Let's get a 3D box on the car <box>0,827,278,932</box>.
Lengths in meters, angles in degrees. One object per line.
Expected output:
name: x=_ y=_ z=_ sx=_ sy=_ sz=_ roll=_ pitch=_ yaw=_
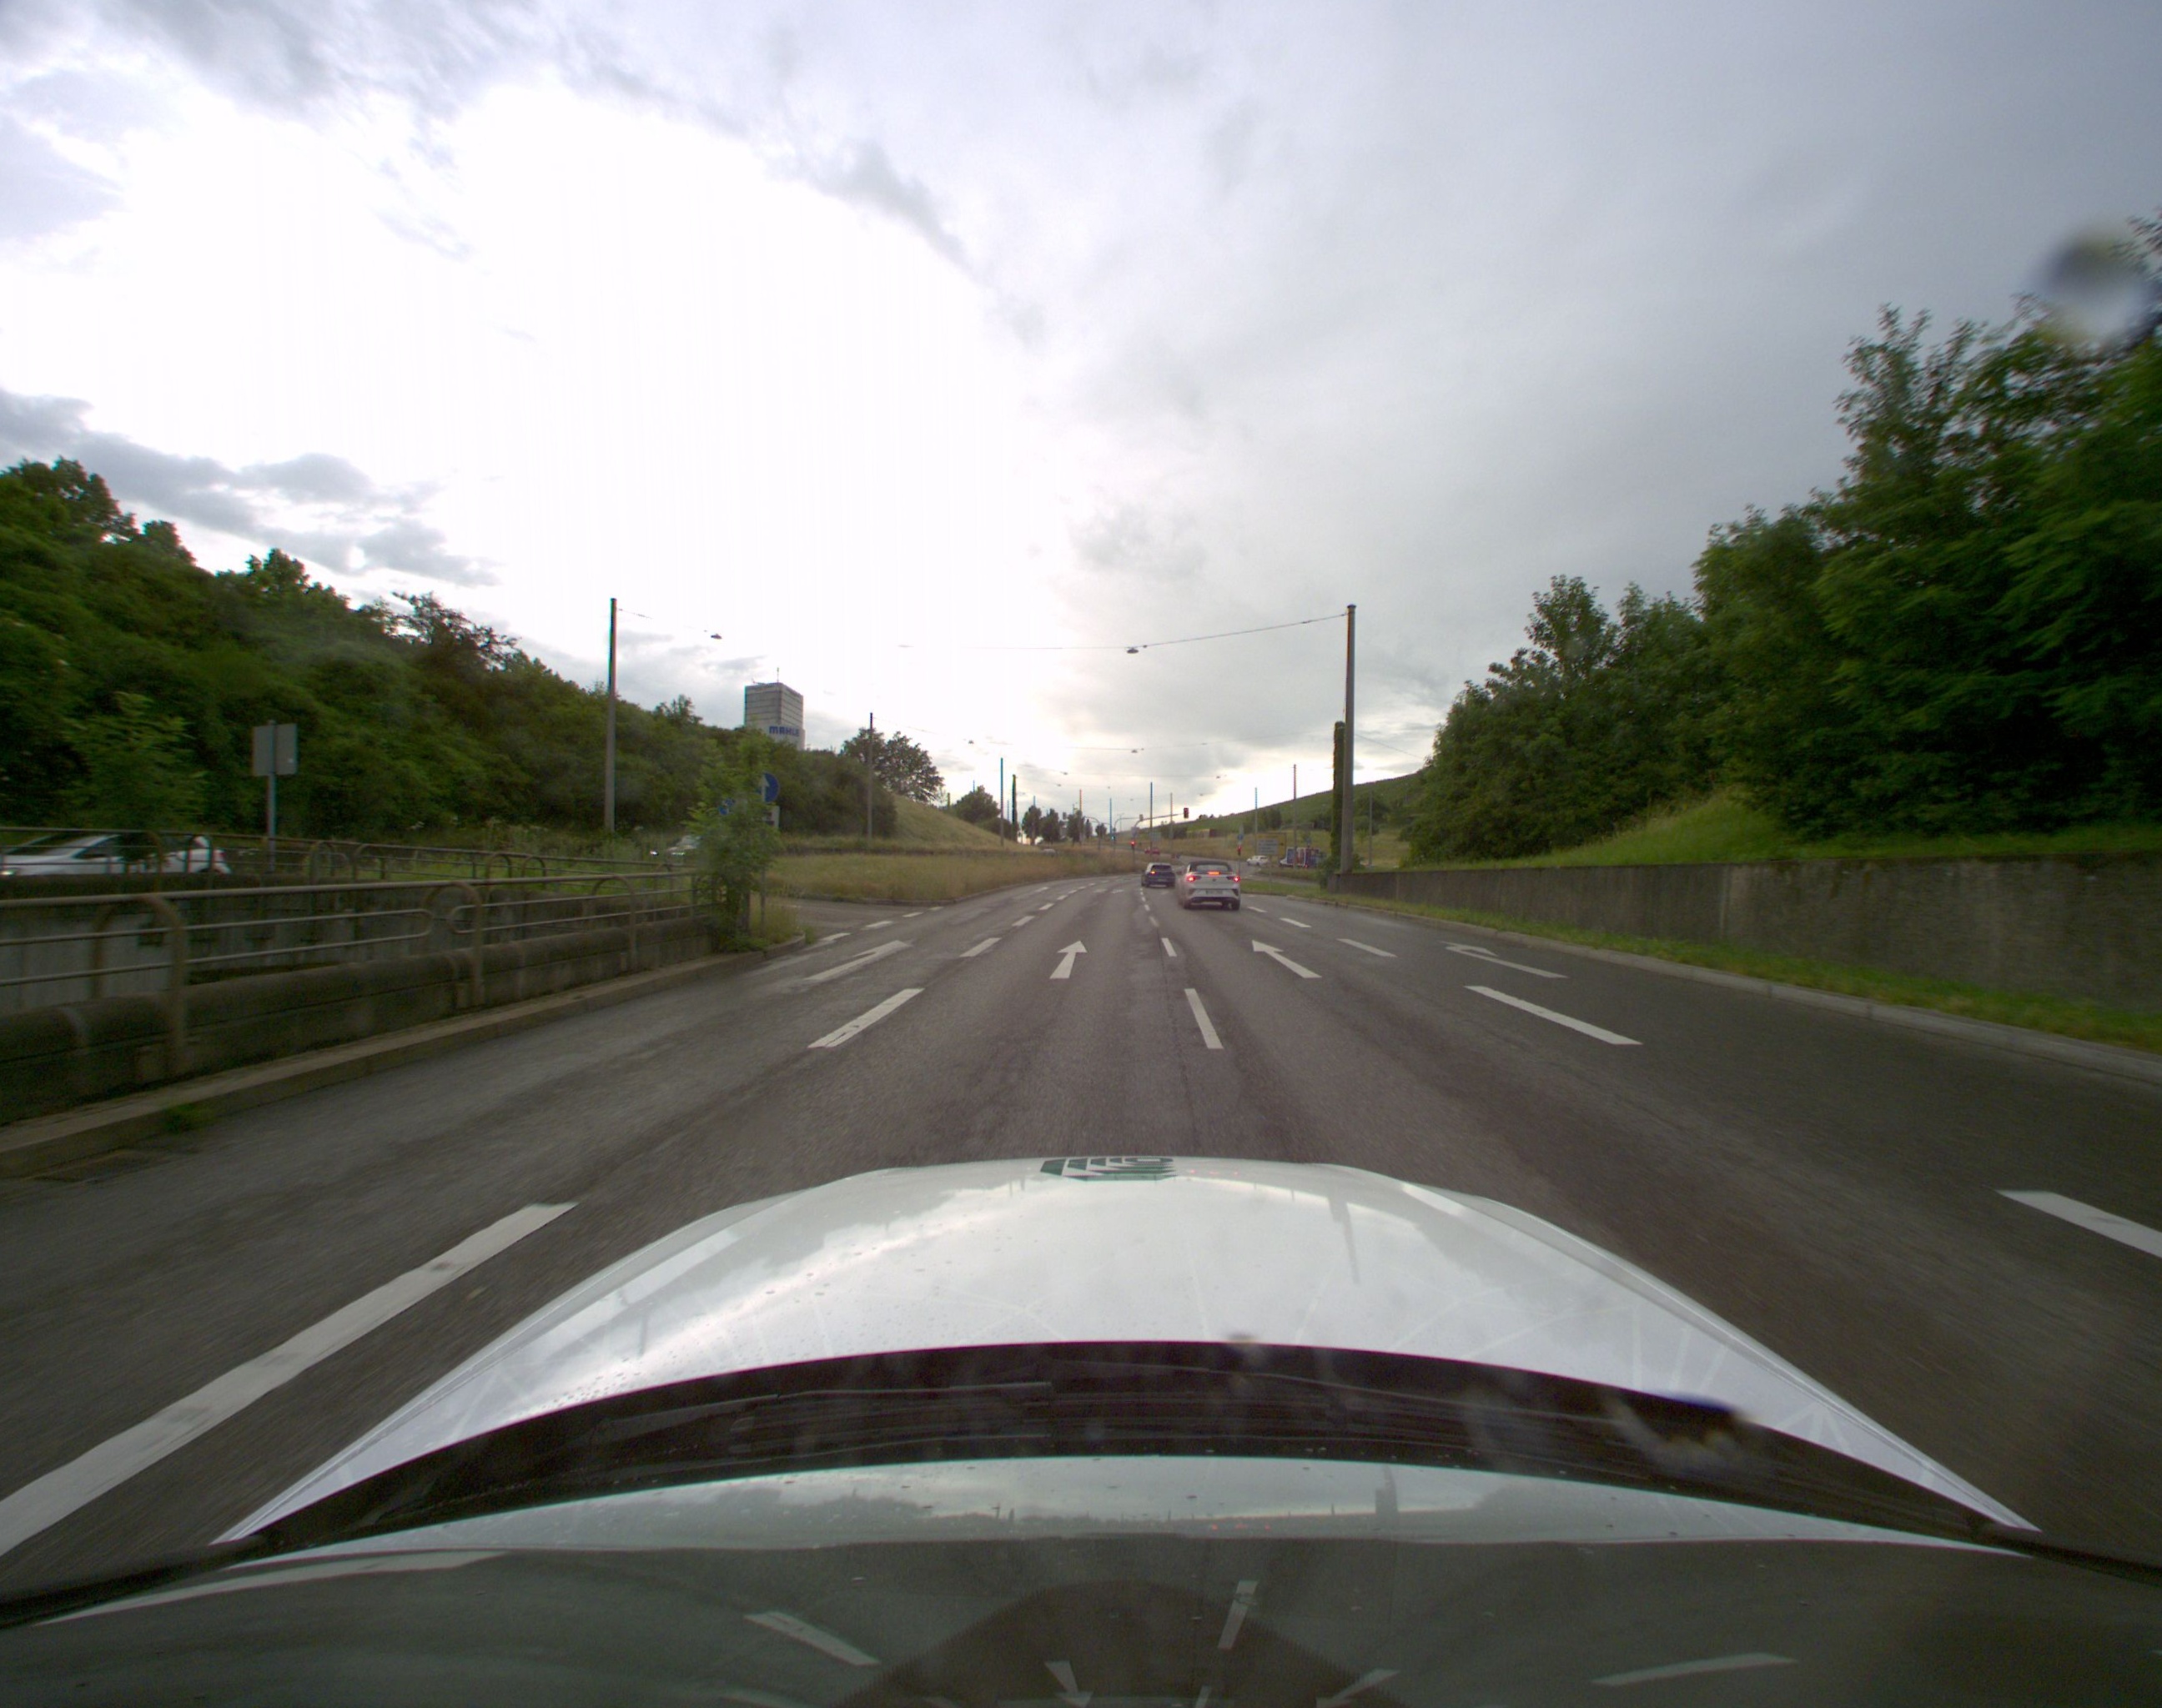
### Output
car: x=-19.653 y=0.446 z=16.488 sx=1.985 sy=1.834 sz=4.635 roll=0 pitch=0 yaw=4

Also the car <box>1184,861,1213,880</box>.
car: x=10.221 y=1.448 z=70.639 sx=1.760 sy=1.519 sz=3.742 roll=3 pitch=0 yaw=18

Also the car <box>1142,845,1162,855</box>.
car: x=13.157 y=-0.734 z=150.860 sx=2.001 sy=1.712 sz=4.531 roll=-1 pitch=0 yaw=-21

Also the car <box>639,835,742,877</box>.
car: x=-17.344 y=0.112 z=36.462 sx=1.984 sy=1.637 sz=4.728 roll=3 pitch=0 yaw=4

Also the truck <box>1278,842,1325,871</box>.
truck: x=28.410 y=0.246 z=105.311 sx=2.857 sy=3.526 sz=6.195 roll=0 pitch=3 yaw=-19

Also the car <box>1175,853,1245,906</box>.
car: x=4.212 y=0.811 z=27.128 sx=1.986 sy=1.578 sz=4.131 roll=2 pitch=-1 yaw=5

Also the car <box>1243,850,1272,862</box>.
car: x=25.011 y=0.236 z=115.660 sx=1.999 sy=1.500 sz=4.537 roll=0 pitch=3 yaw=-18

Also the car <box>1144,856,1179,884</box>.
car: x=4.821 y=0.953 z=48.539 sx=1.916 sy=1.599 sz=4.069 roll=1 pitch=-1 yaw=7
